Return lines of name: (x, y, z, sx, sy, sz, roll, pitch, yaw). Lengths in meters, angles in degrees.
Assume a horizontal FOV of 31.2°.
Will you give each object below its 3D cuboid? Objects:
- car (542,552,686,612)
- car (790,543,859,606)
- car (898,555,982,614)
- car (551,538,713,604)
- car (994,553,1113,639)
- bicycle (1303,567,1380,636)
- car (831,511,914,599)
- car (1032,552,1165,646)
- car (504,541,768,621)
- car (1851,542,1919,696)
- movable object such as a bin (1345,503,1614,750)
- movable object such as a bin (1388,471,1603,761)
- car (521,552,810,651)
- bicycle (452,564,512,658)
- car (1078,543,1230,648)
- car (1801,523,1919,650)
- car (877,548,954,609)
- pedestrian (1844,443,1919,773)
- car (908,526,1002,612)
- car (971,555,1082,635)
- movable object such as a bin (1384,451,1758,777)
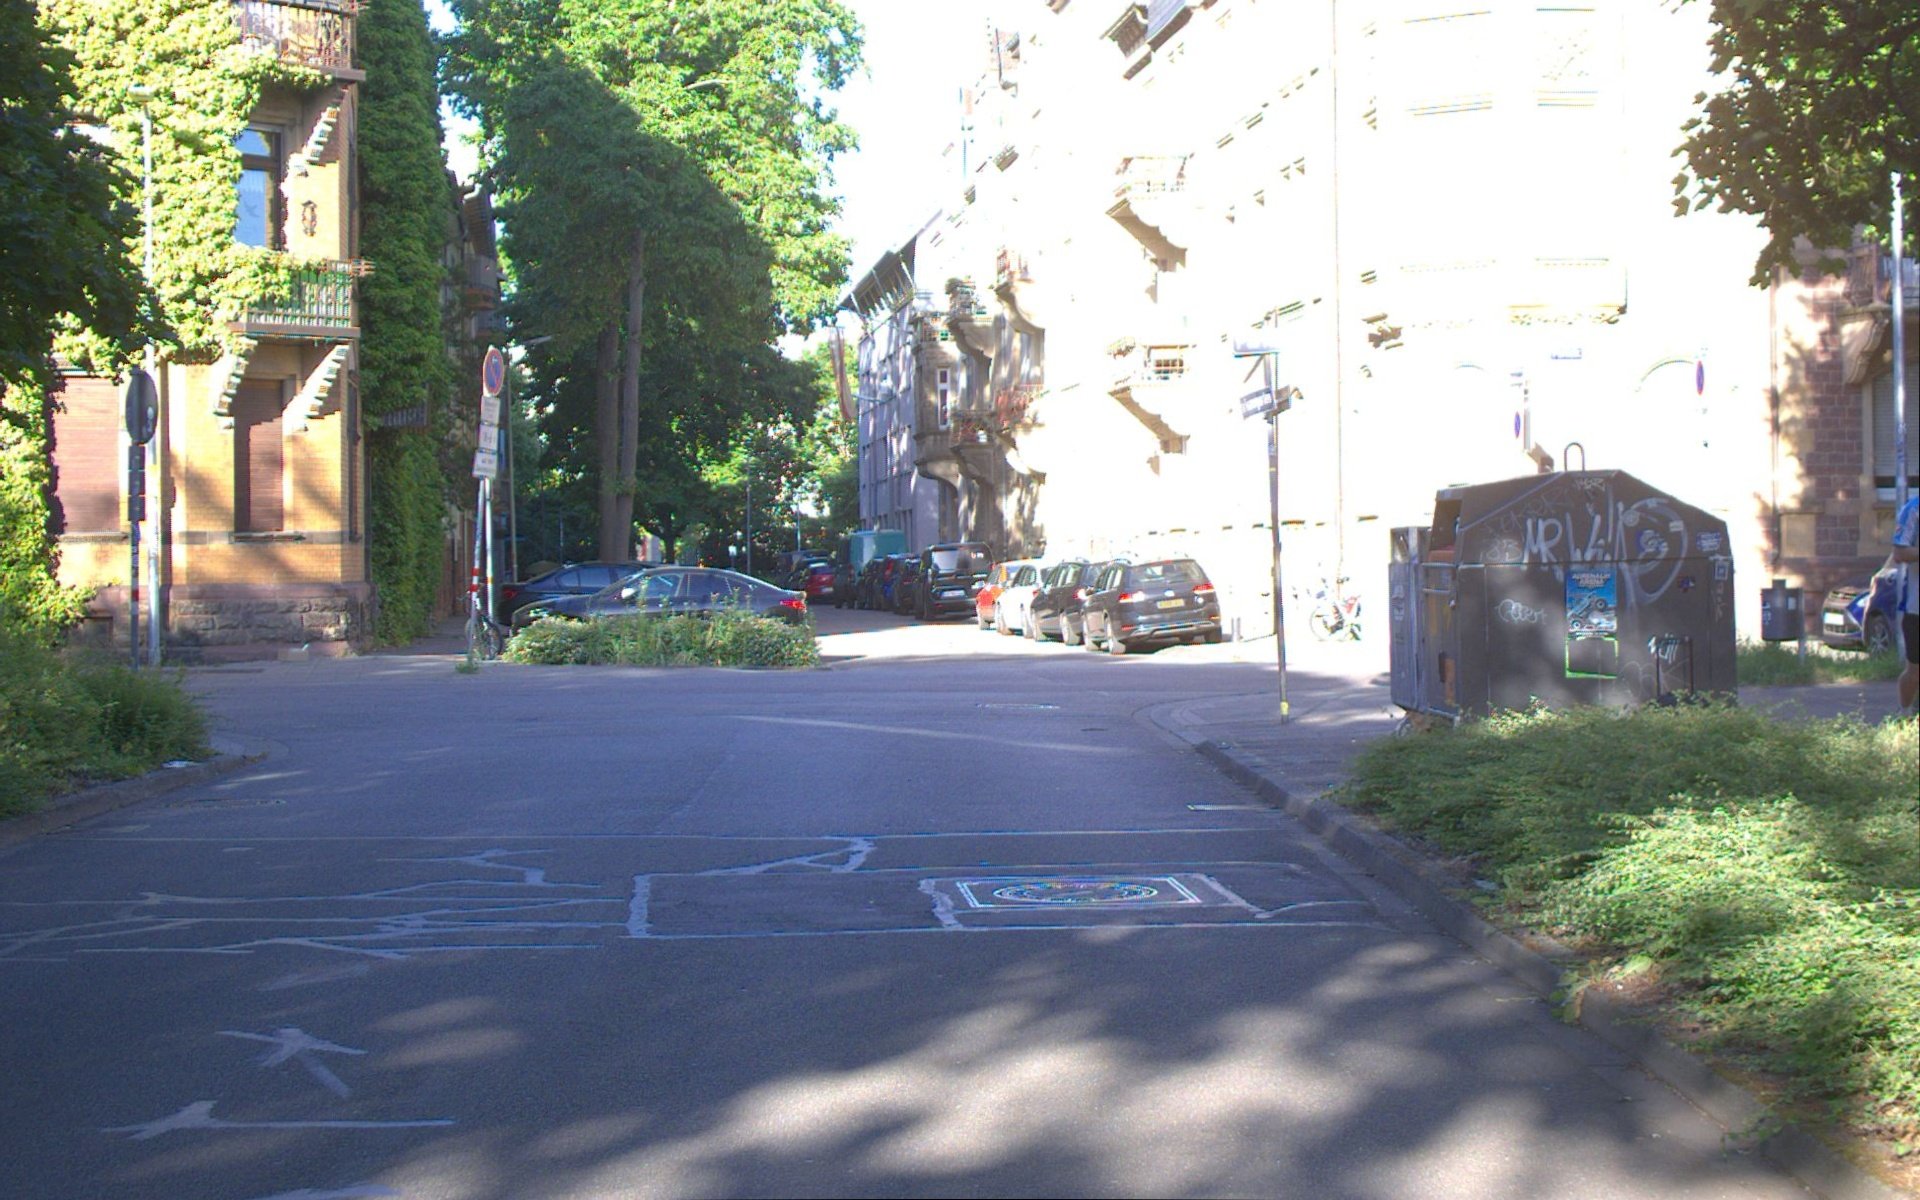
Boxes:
car: (-9.438, -0.490, 93.666, 3.800, 1.570, 1.710, 1, 0, -8)
car: (-4.950, -0.935, 124.893, 2.165, 2.229, 4.792, 1, 0, -6)
car: (-0.552, -0.412, 90.817, 1.802, 1.509, 4.001, 1, 0, -6)
car: (-8.027, -0.702, 83.898, 3.800, 1.570, 1.710, 1, 0, -10)
car: (1.751, -0.082, 65.583, 1.737, 1.576, 4.001, 1, 0, -6)
bicycle: (5.598, 0.018, 50.501, 0.514, 0.994, 1.576, 1, 0, -18)
car: (-2.770, -1.409, 107.874, 2.165, 2.681, 4.792, 1, 0, -6)
car: (2.386, -0.038, 60.207, 1.737, 1.576, 4.001, 1, 0, -6)
car: (-6.080, -0.361, 64.339, 4.833, 1.430, 1.710, 1, 0, -8)
car: (10.722, 0.196, 34.442, 1.993, 1.550, 4.001, 1, -1, -10)
movable object such as a bin: (3.600, 0.175, 24.019, 1.586, 1.652, 1.640, 1, 0, -1)
movable object such as a bin: (3.472, 0.094, 22.420, 1.147, 1.821, 1.386, 1, 0, -1)
car: (-4.487, 0.024, 52.041, 4.242, 1.430, 2.000, 1, 0, -8)
bicycle: (-6.629, 0.140, 47.730, 0.563, 1.264, 1.603, -1, 1, 1)
car: (3.000, -0.084, 53.932, 1.737, 1.576, 4.001, 1, 0, -6)
car: (13.443, -0.175, 45.237, 4.243, 1.616, 1.736, 1, 2, -10)
car: (-1.286, -0.623, 97.680, 1.802, 1.673, 4.001, 1, 0, -6)
pedestrian: (5.648, 0.045, 20.162, 0.673, 1.887, 0.895, 1, 0, -1)
car: (-0.149, -0.736, 82.491, 1.802, 1.997, 4.001, 1, 0, -6)
car: (1.321, -0.118, 70.122, 1.737, 1.576, 4.001, 1, 0, -6)
movable object such as a bin: (3.577, 0.076, 20.333, 1.920, 1.847, 1.393, 1, 0, -1)
